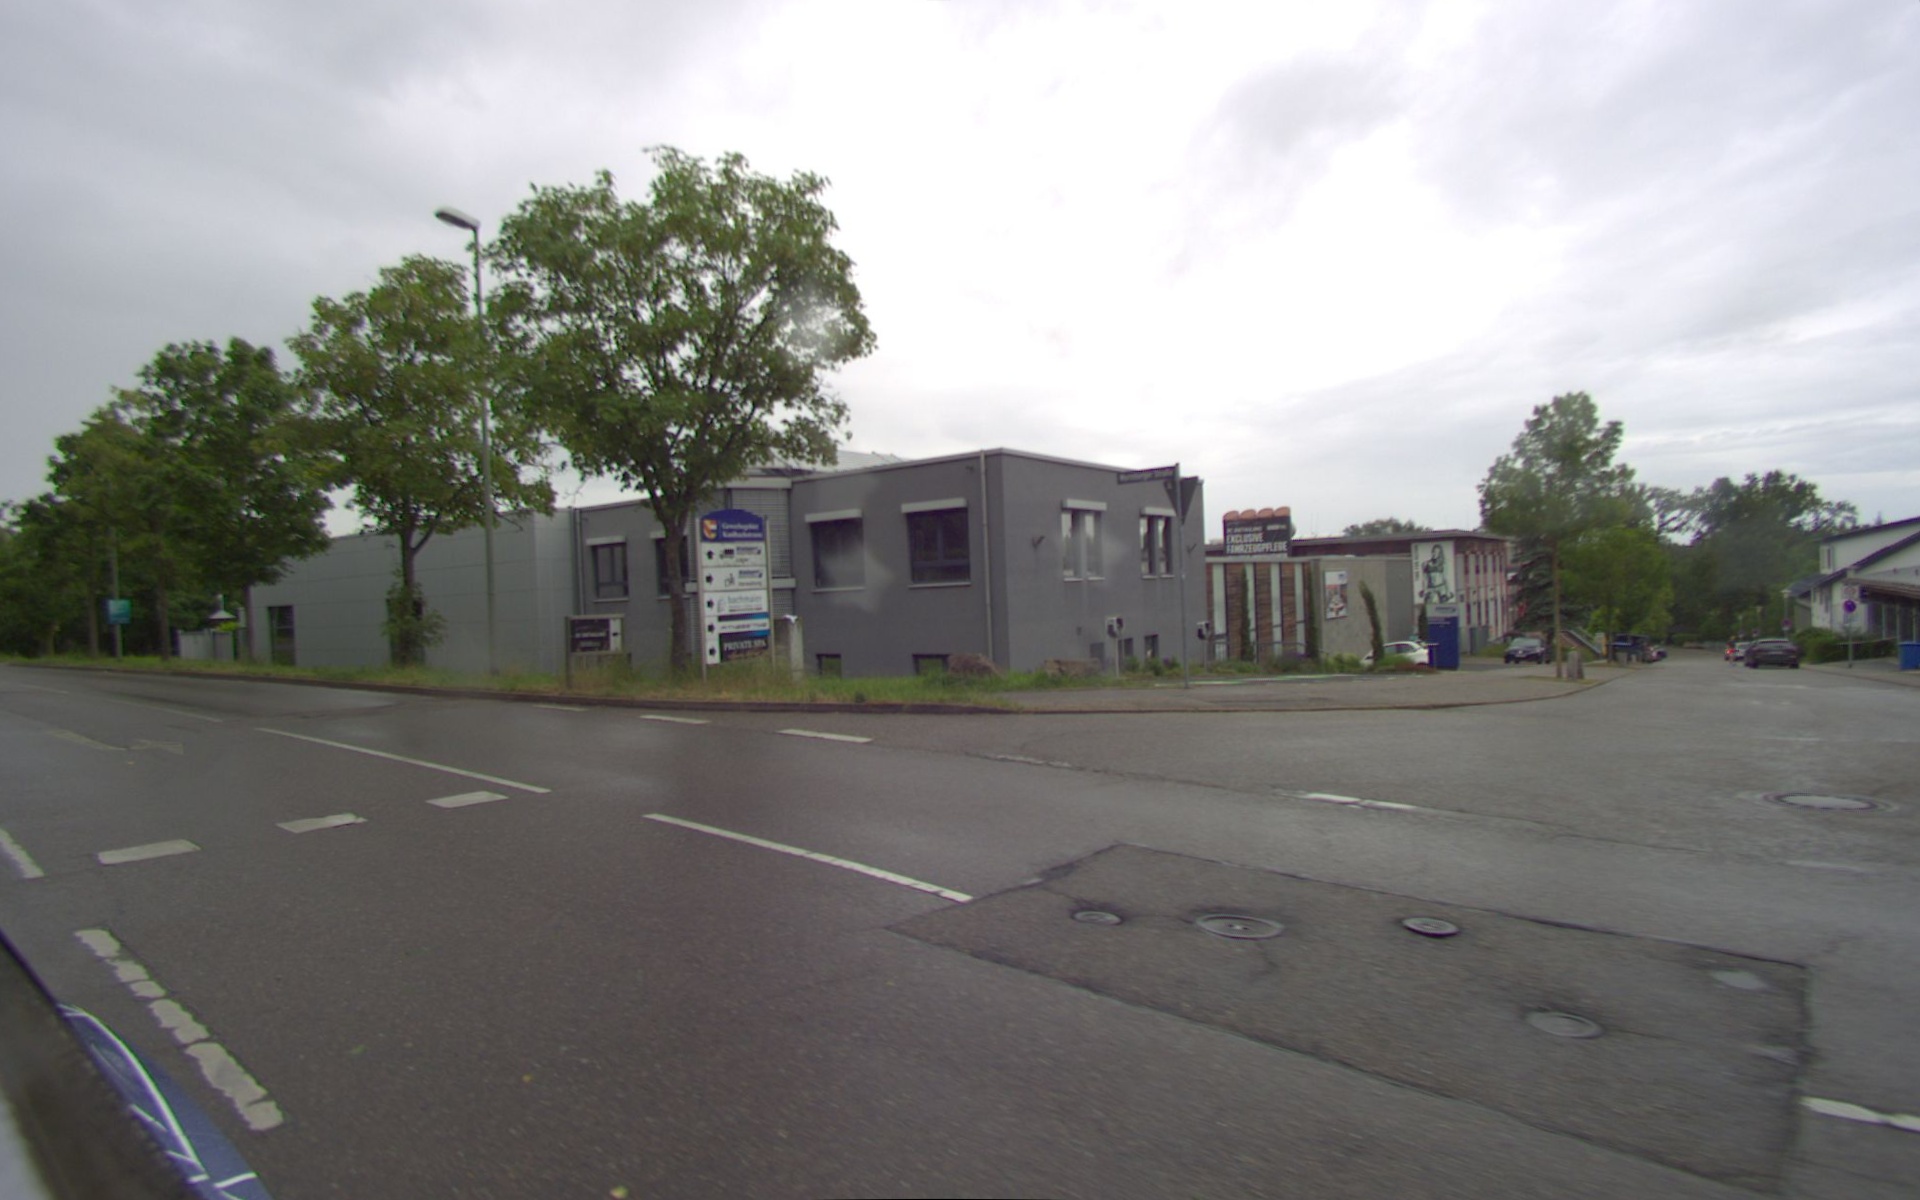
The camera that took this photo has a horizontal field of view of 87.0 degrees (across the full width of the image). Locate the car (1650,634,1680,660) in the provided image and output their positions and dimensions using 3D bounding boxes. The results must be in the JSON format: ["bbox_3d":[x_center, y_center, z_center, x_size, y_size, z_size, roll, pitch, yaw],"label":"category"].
[{"bbox_3d":[59.617,3.929,85.537,1.996,2.029,3.952,-1,-1,36],"label":"car"}]

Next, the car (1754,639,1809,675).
[{"bbox_3d":[40.251,2.767,49.677,1.806,1.590,3.952,-1,-1,35],"label":"car"}]

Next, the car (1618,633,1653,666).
[{"bbox_3d":[47.210,3.424,70.721,1.867,2.162,3.952,-1,-1,36],"label":"car"}]

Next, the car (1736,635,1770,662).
[{"bbox_3d":[64.460,3.946,82.298,1.996,2.029,3.952,-1,-1,36],"label":"car"}]

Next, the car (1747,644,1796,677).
[{"bbox_3d":[43.963,3.247,54.883,1.806,1.590,3.952,-1,-1,35],"label":"car"}]

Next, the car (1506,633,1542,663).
[{"bbox_3d":[30.232,2.543,54.222,1.490,1.533,3.467,-1,-1,32],"label":"car"}]

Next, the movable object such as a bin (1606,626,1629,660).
[{"bbox_3d":[41.721,2.716,64.225,1.111,2.162,1.246,-1,-1,36],"label":"movable object such as a bin"}]

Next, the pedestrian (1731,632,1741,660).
[{"bbox_3d":[44.024,2.607,57.416,0.407,1.533,0.417,-1,-1,33],"label":"pedestrian"}]

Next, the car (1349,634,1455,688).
[{"bbox_3d":[16.596,2.311,38.077,3.196,1.565,1.489,-13,-9,36],"label":"car"}]
